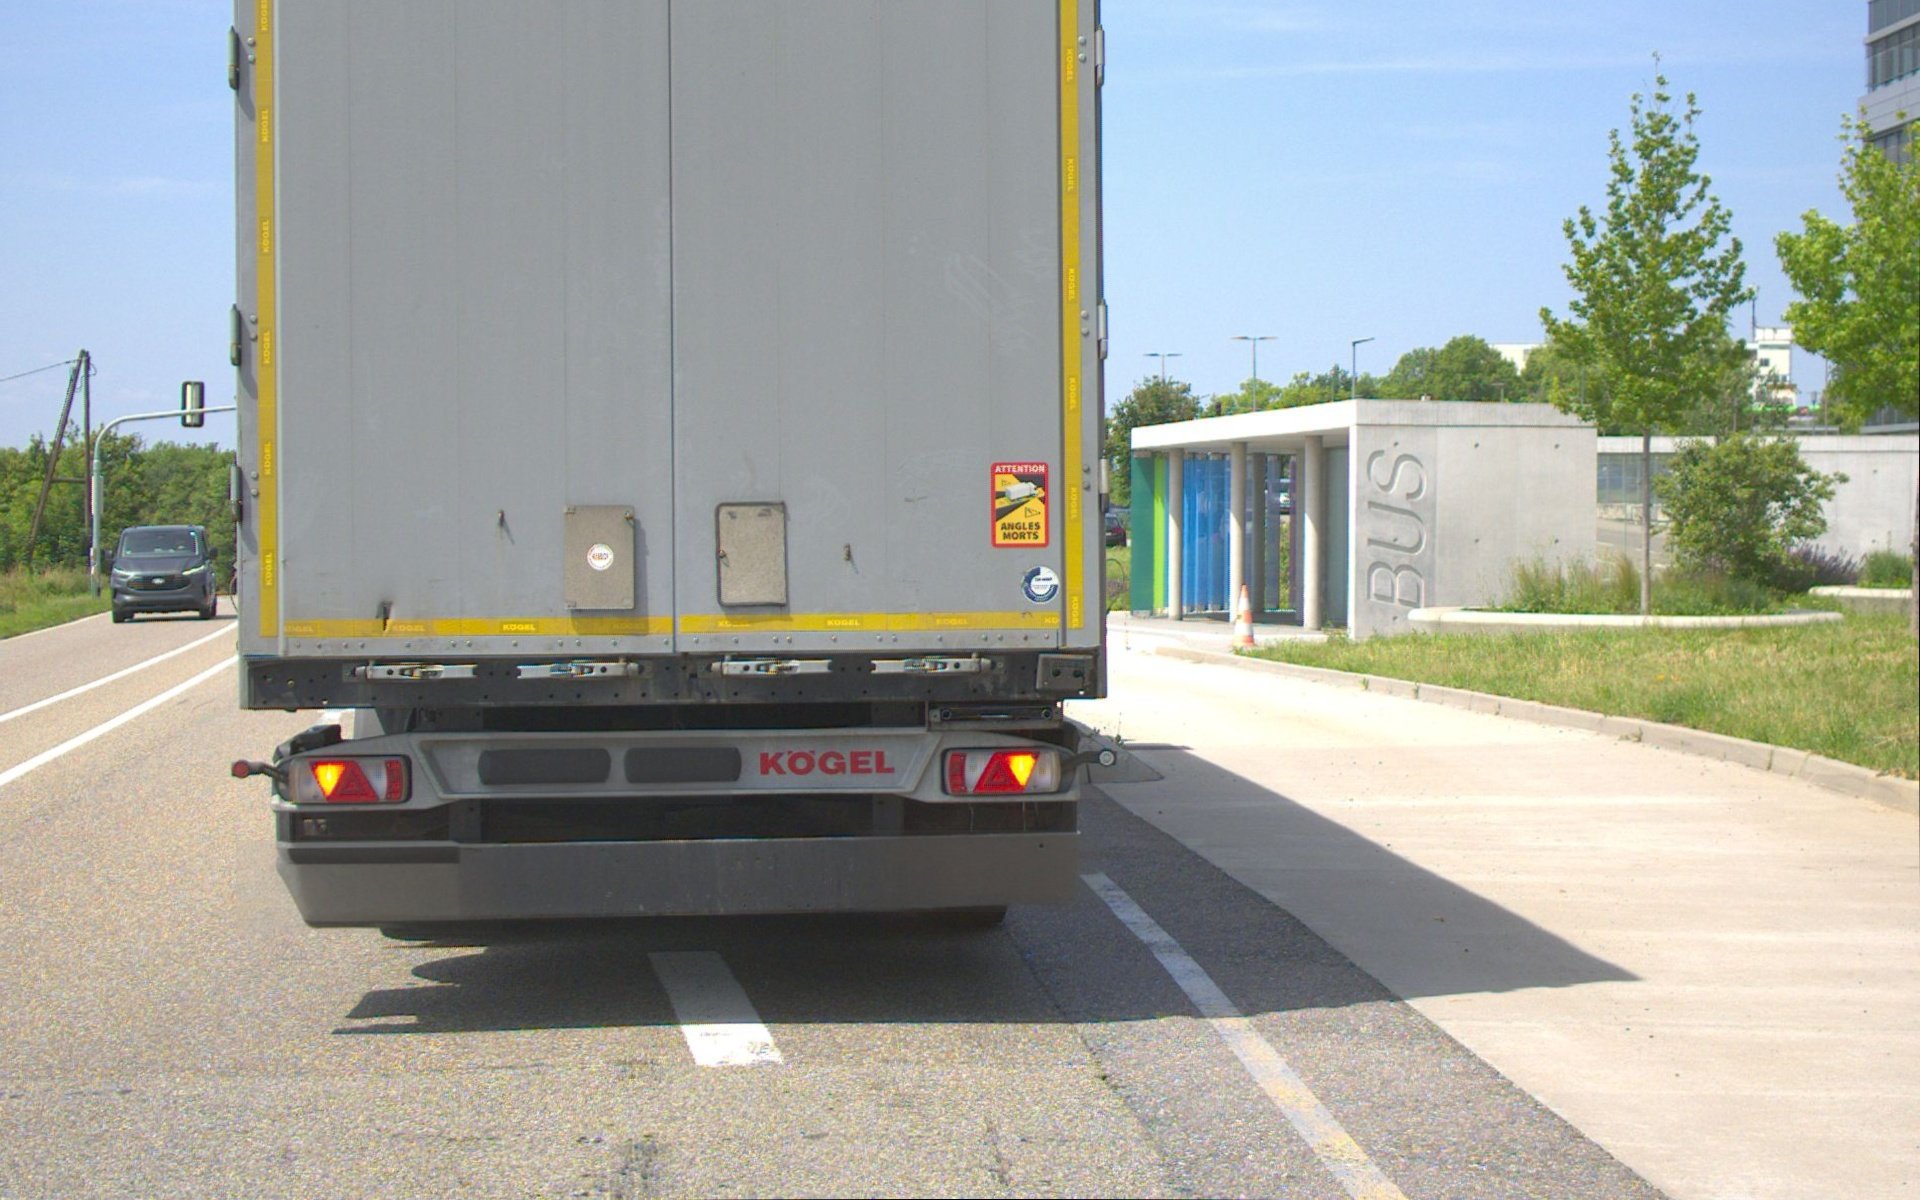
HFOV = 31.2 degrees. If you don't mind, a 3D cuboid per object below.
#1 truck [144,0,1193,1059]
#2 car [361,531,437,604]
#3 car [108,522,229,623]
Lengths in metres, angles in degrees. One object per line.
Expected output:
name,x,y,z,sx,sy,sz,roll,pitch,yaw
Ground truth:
truck,-1.160,-1.001,14.029,2.906,4.395,8.862,0,1,-5
car,-15.855,-0.924,97.220,1.993,1.943,4.504,-2,1,-9
car,-16.520,-0.604,71.981,1.993,1.971,5.280,-2,1,-8
